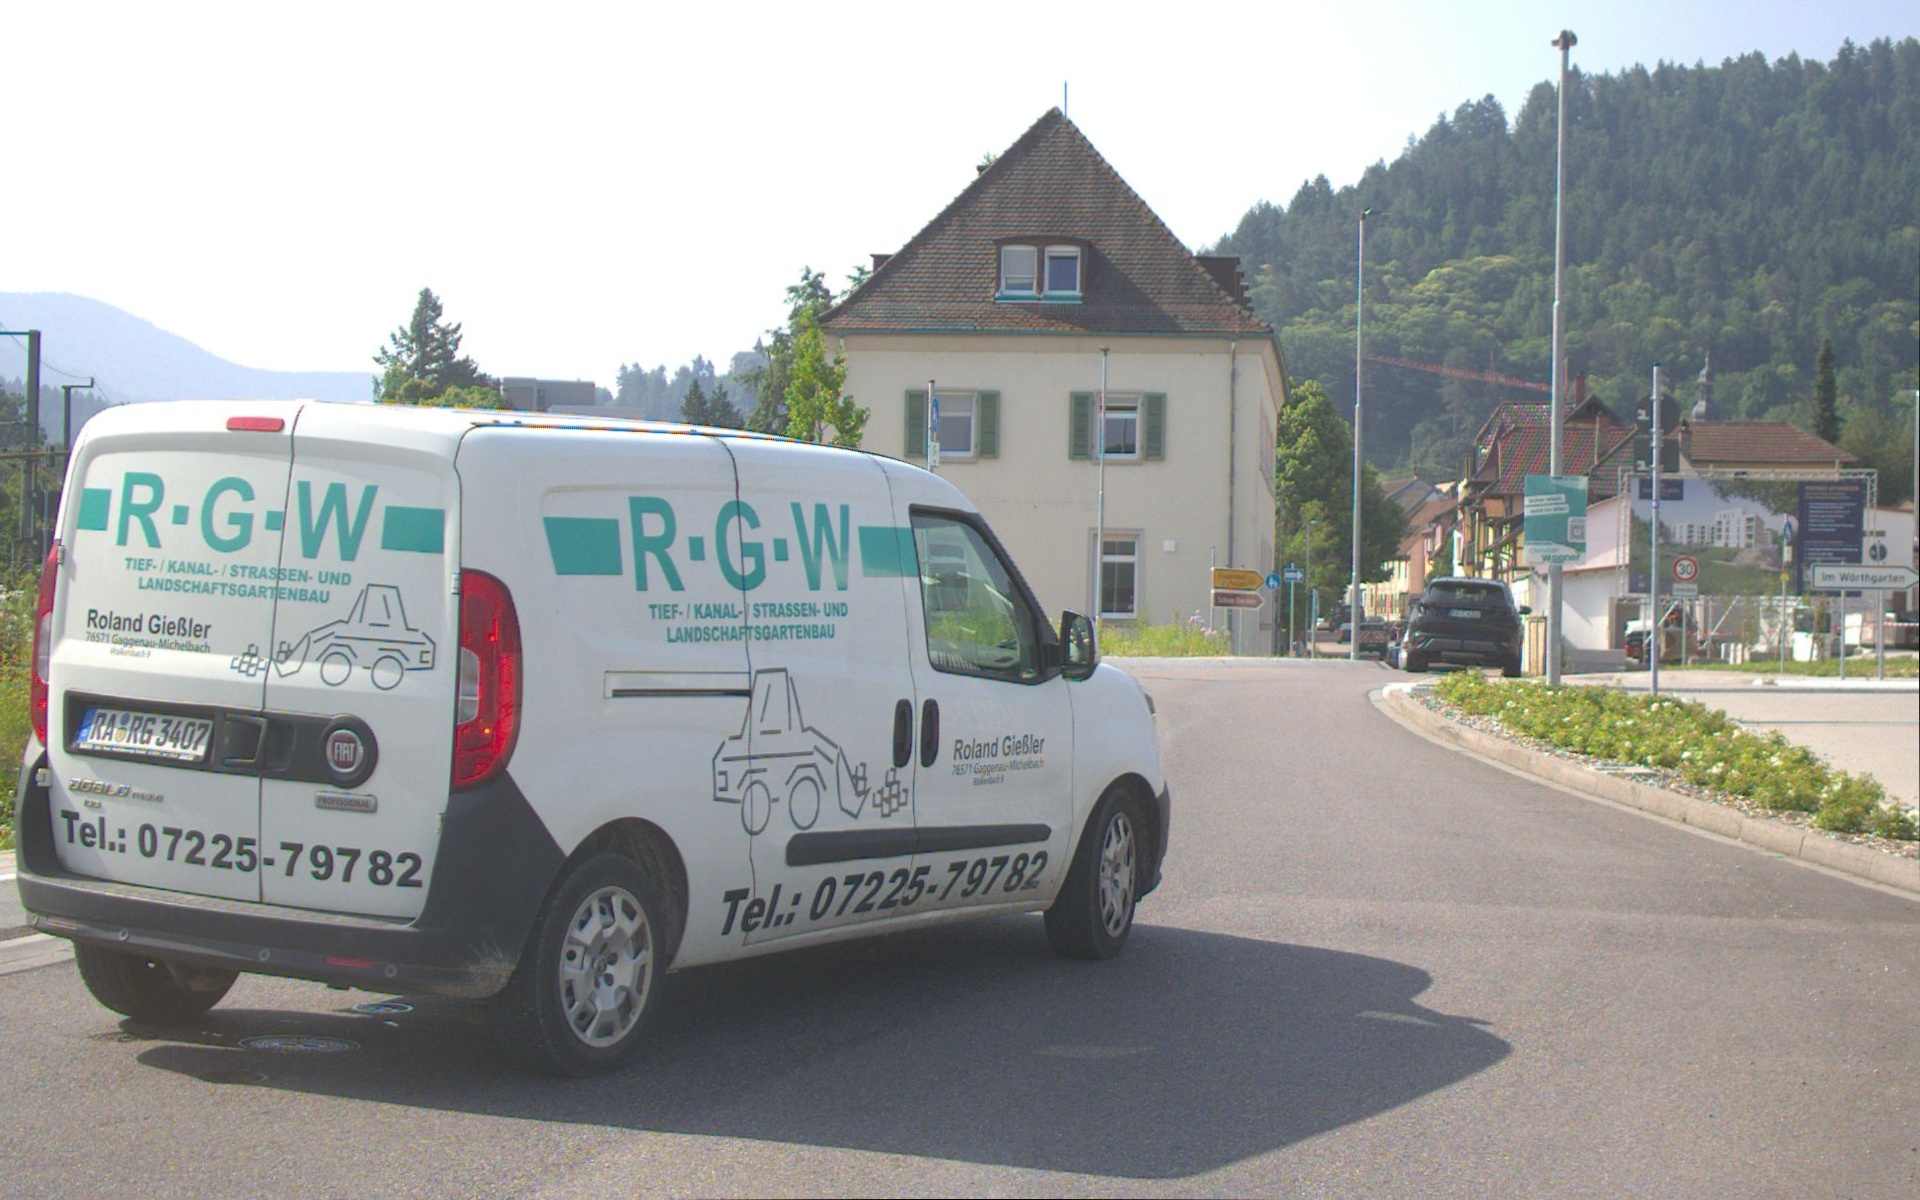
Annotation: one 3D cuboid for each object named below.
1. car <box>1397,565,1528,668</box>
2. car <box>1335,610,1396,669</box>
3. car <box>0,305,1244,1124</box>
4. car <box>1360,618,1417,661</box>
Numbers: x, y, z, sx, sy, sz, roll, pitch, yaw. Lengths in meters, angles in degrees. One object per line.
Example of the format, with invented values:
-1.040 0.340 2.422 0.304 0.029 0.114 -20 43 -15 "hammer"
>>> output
8.528 0.301 58.117 1.882 1.678 3.997 0 -1 13 "car"
14.281 1.401 120.980 1.994 2.007 3.998 0 -1 8 "car"
-0.939 0.270 11.167 1.809 2.070 4.596 3 1 30 "car"
10.340 0.951 82.870 1.306 1.000 3.090 0 -1 8 "car"
